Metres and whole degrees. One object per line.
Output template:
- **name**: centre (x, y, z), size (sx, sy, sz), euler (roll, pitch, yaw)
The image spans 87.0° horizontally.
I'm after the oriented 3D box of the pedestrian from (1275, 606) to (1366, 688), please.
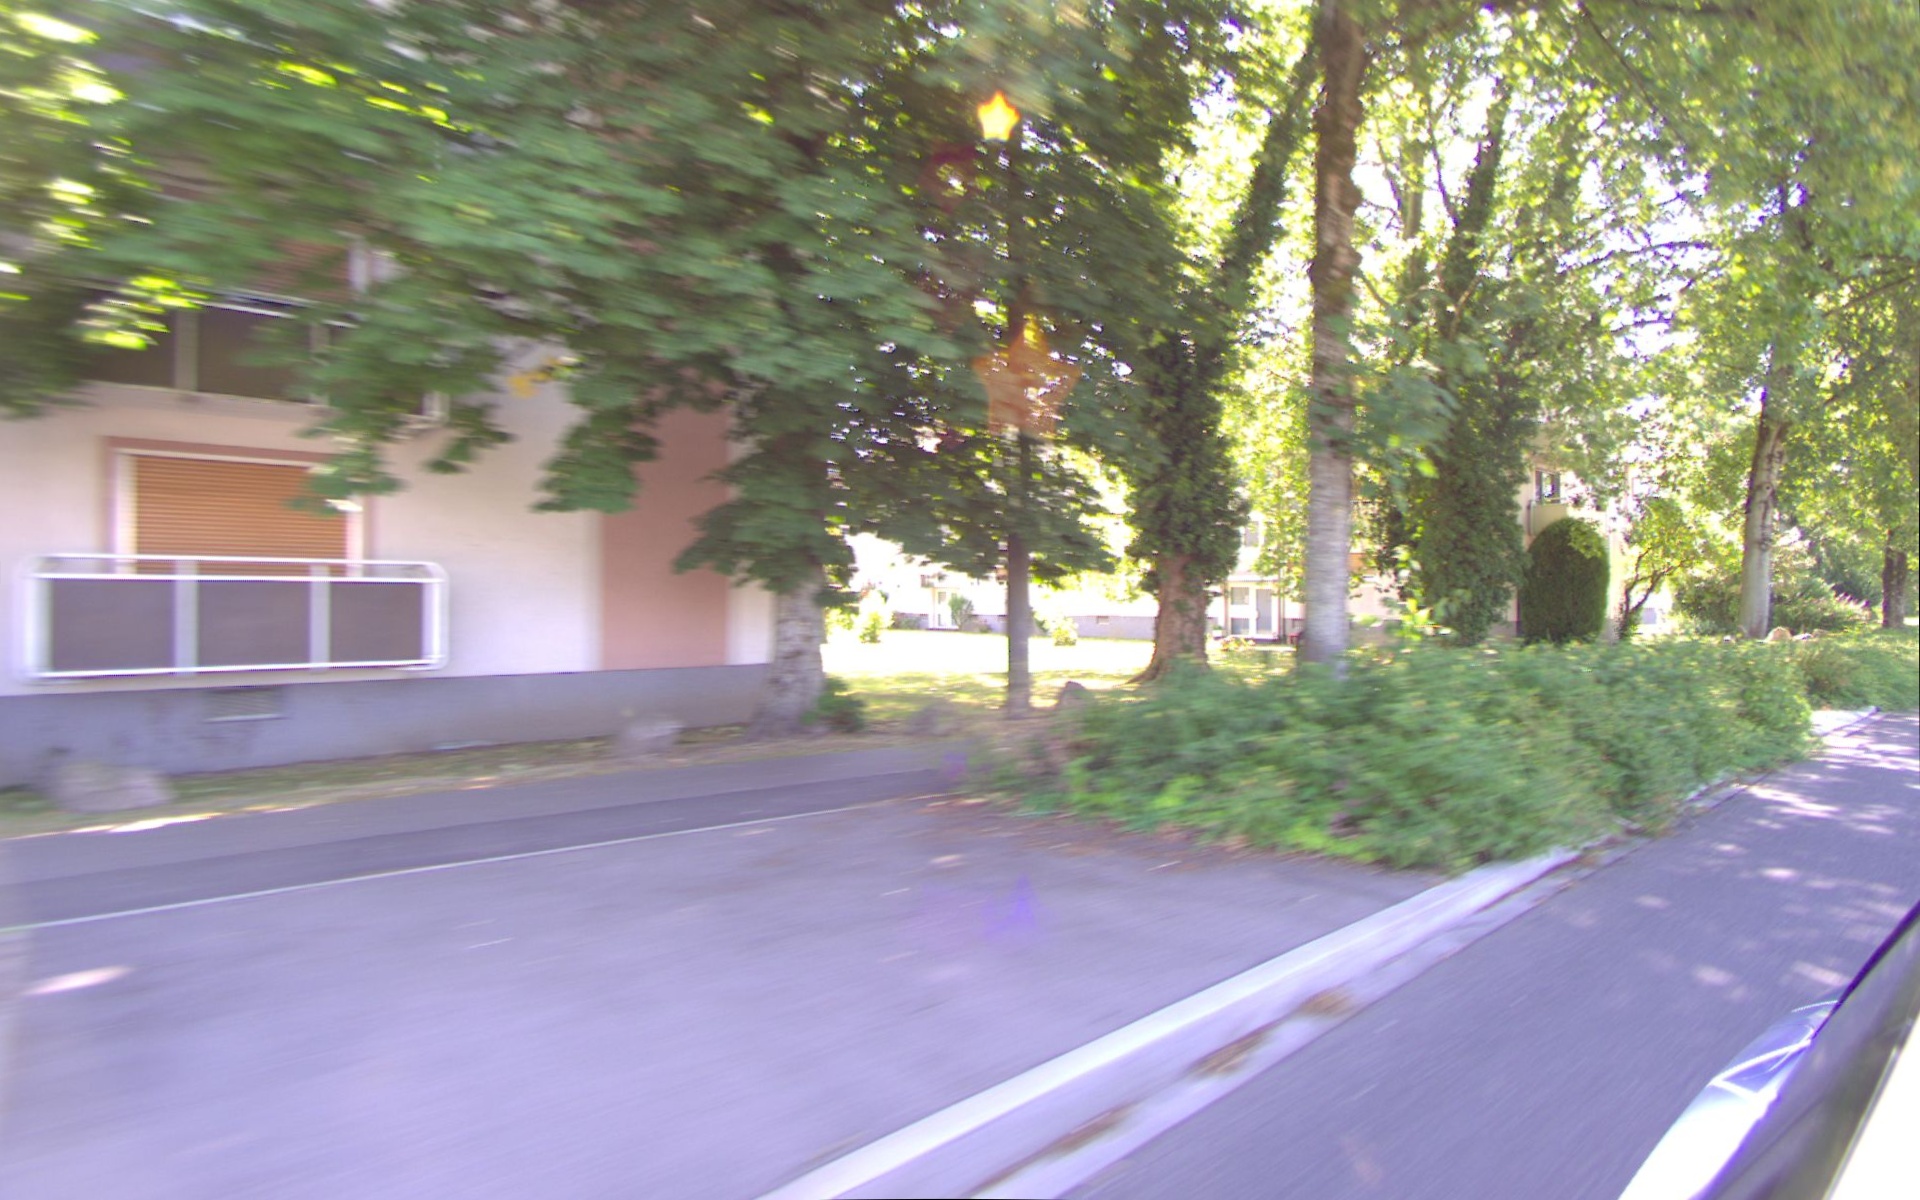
- **pedestrian**: centre (5.972, 0.752, 16.783), size (1.047, 1.309, 0.943), euler (0, -1, -27)
